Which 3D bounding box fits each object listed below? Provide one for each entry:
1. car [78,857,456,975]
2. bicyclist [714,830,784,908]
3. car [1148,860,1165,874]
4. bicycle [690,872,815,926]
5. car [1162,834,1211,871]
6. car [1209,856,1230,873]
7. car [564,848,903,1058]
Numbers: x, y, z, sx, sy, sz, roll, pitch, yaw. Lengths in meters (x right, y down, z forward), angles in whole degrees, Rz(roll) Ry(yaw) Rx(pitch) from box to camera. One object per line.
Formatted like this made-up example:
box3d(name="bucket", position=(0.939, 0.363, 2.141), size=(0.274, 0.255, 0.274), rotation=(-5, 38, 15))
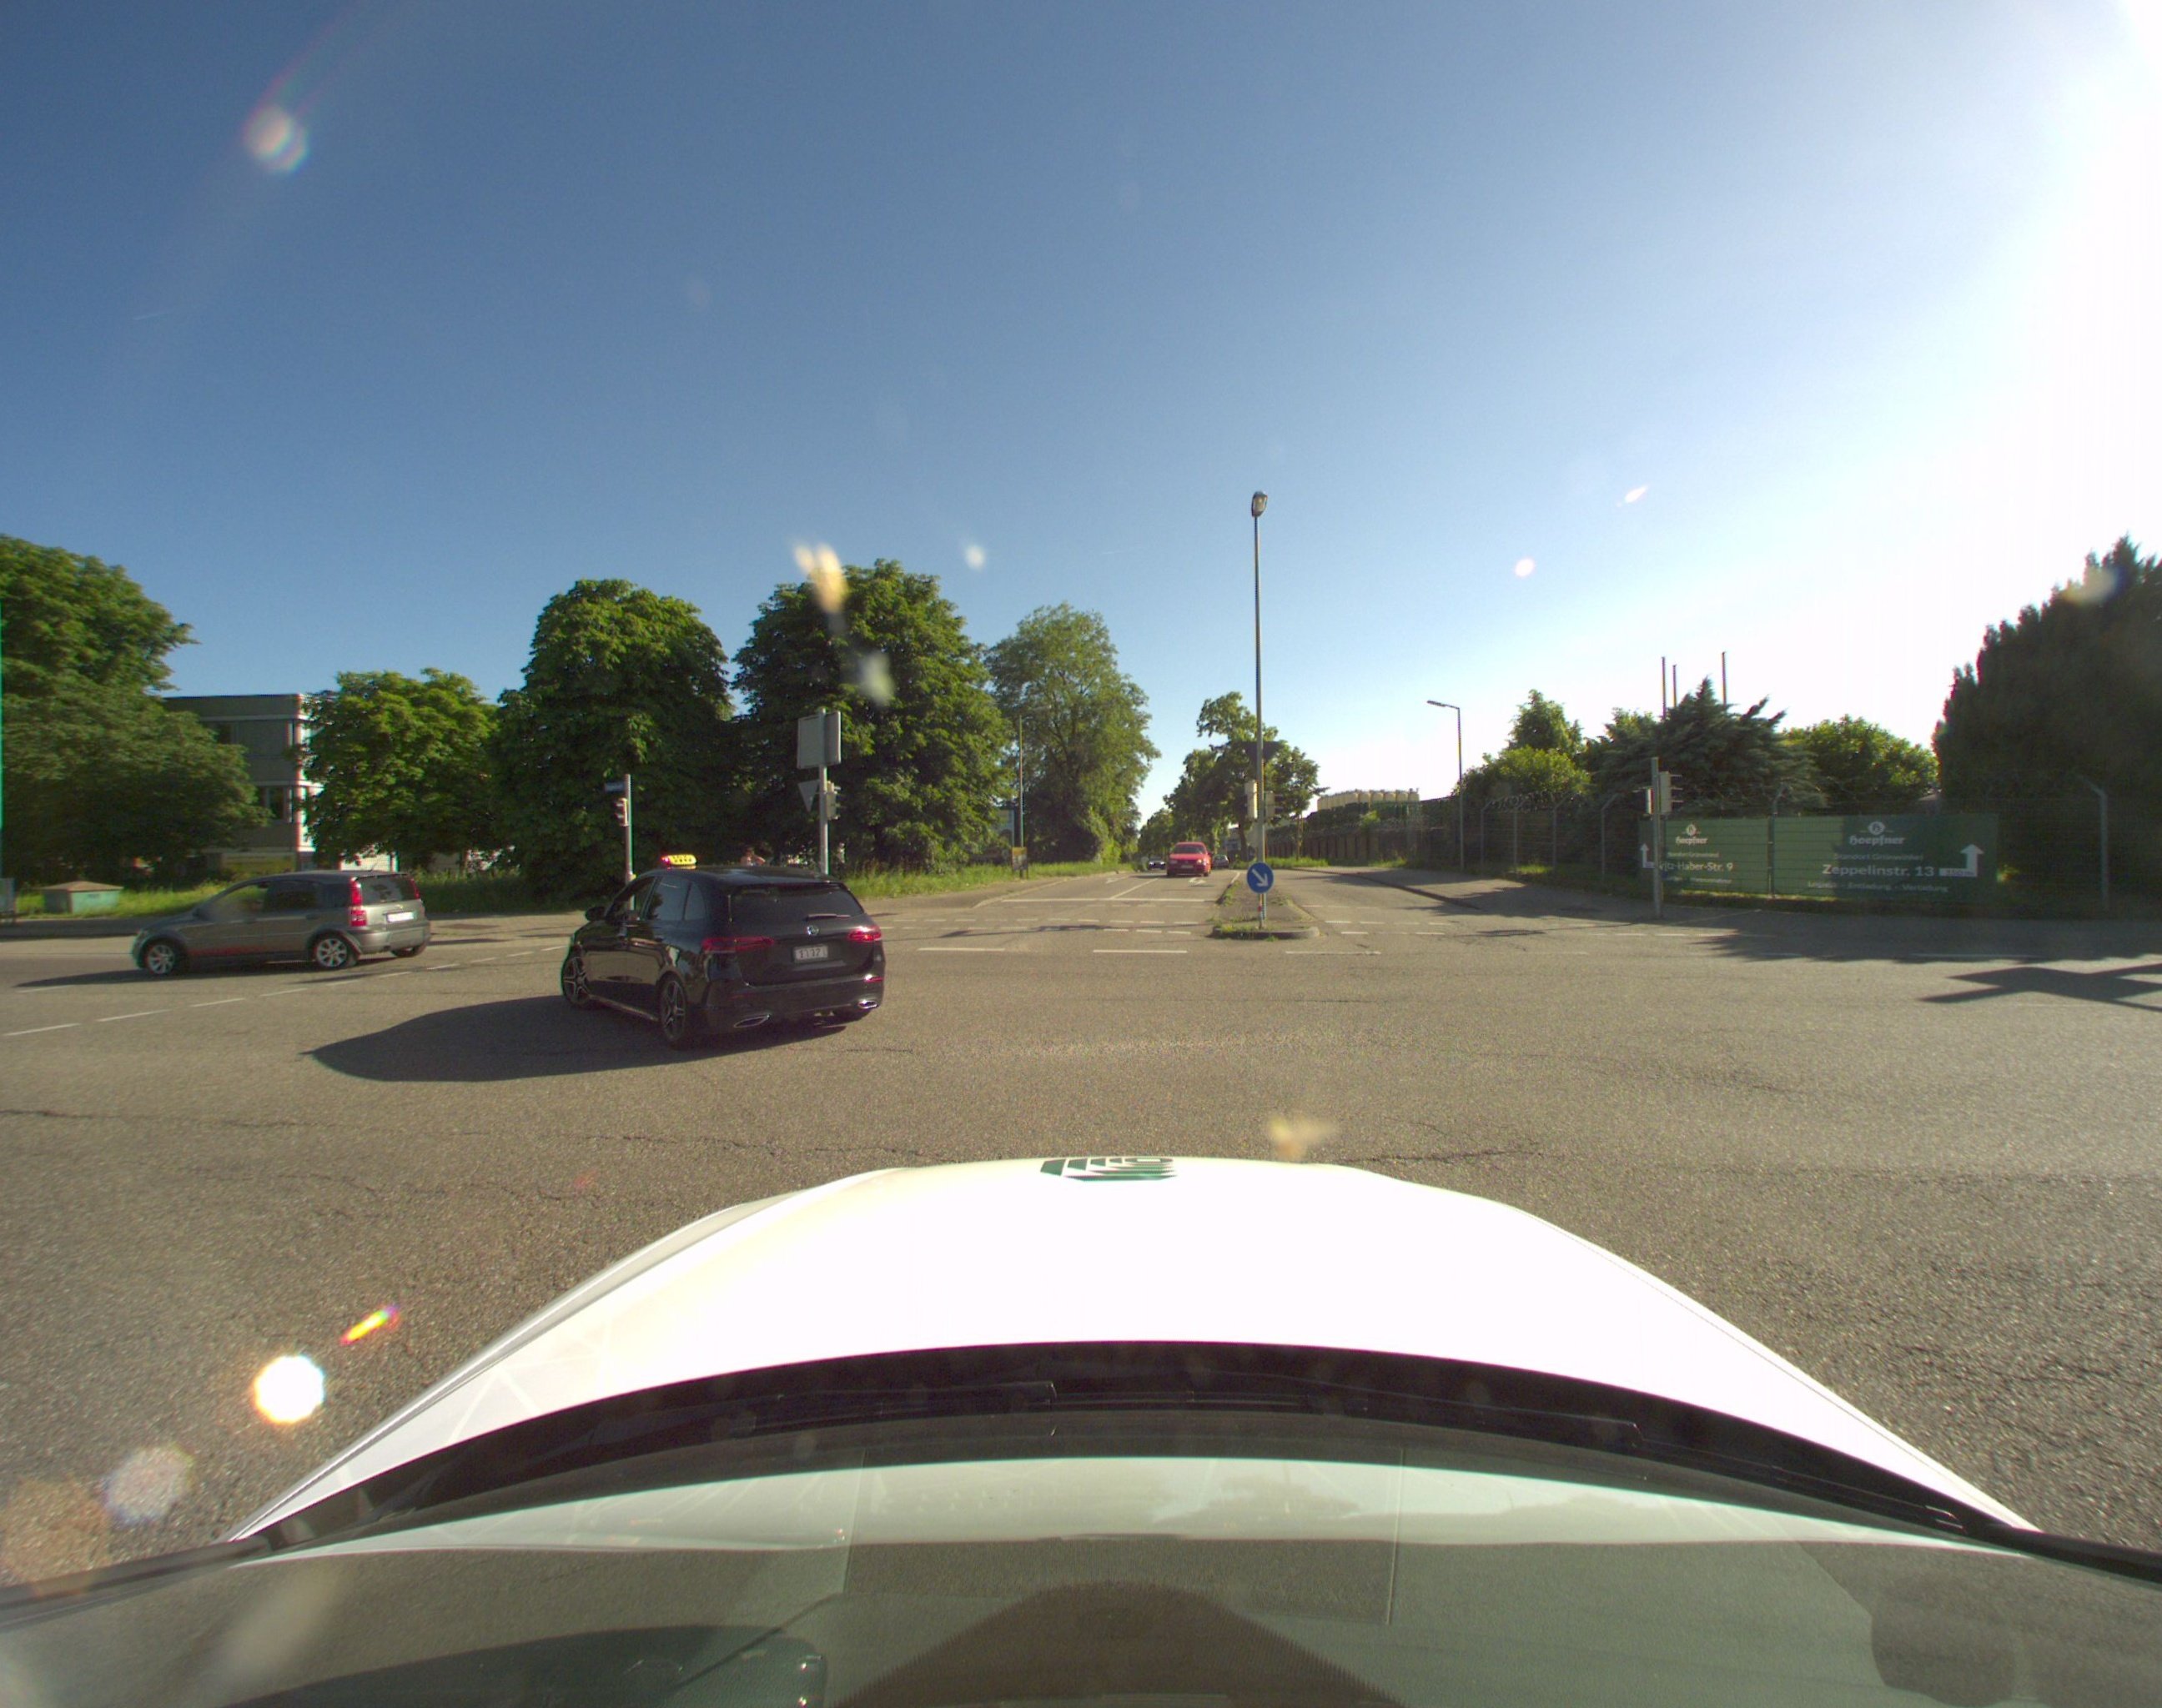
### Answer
box3d(name="car", position=(-12.714, 0.913, 12.978), size=(3.981, 1.640, 1.807), rotation=(-1, -1, -6))
box3d(name="bicyclist", position=(-7.458, 0.335, 18.299), size=(1.175, 1.693, 0.898), rotation=(-1, -1, 27))
box3d(name="car", position=(8.575, 1.455, 92.771), size=(1.849, 1.470, 4.143), rotation=(-1, -1, 4))
box3d(name="bicycle", position=(-7.372, 0.965, 18.244), size=(2.916, 1.125, 0.908), rotation=(-1, -1, 27))
box3d(name="car", position=(4.462, -0.034, 34.937), size=(1.849, 1.470, 4.143), rotation=(-1, -1, 4))
box3d(name="car", position=(13.841, 1.053, 81.562), size=(1.683, 1.632, 3.131), rotation=(-1, -1, 1))
box3d(name="car", position=(-3.658, 0.763, 8.210), size=(3.939, 1.592, 1.786), rotation=(-1, 0, 45))
